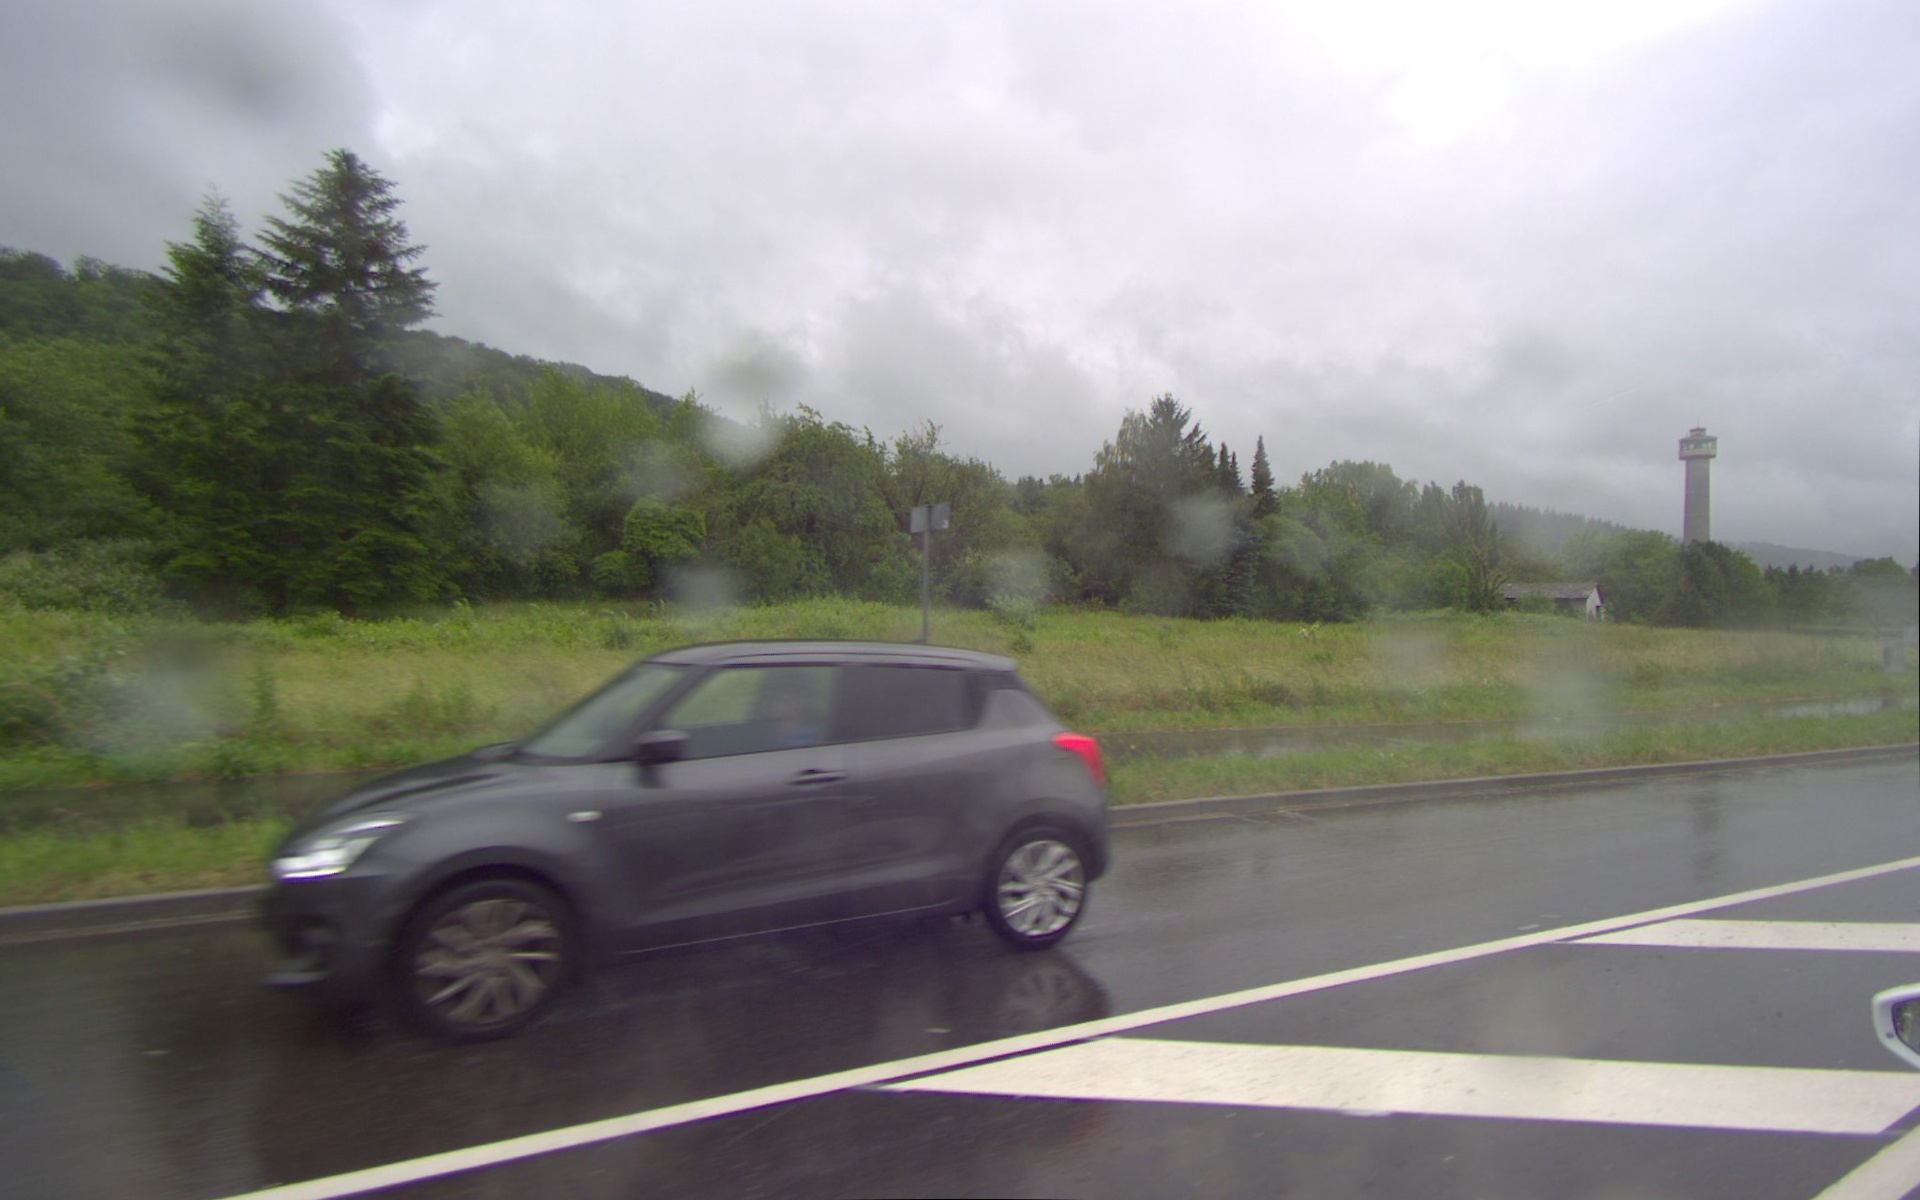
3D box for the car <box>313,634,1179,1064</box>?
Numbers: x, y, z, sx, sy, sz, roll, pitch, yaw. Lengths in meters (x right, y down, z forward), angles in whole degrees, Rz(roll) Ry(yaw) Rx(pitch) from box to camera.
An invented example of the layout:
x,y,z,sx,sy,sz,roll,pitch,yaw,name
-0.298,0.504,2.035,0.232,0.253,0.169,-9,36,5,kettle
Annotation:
x,y,z,sx,sy,sz,roll,pitch,yaw,name
-0.905,0.910,4.999,3.721,1.420,1.690,2,-3,-29,car
